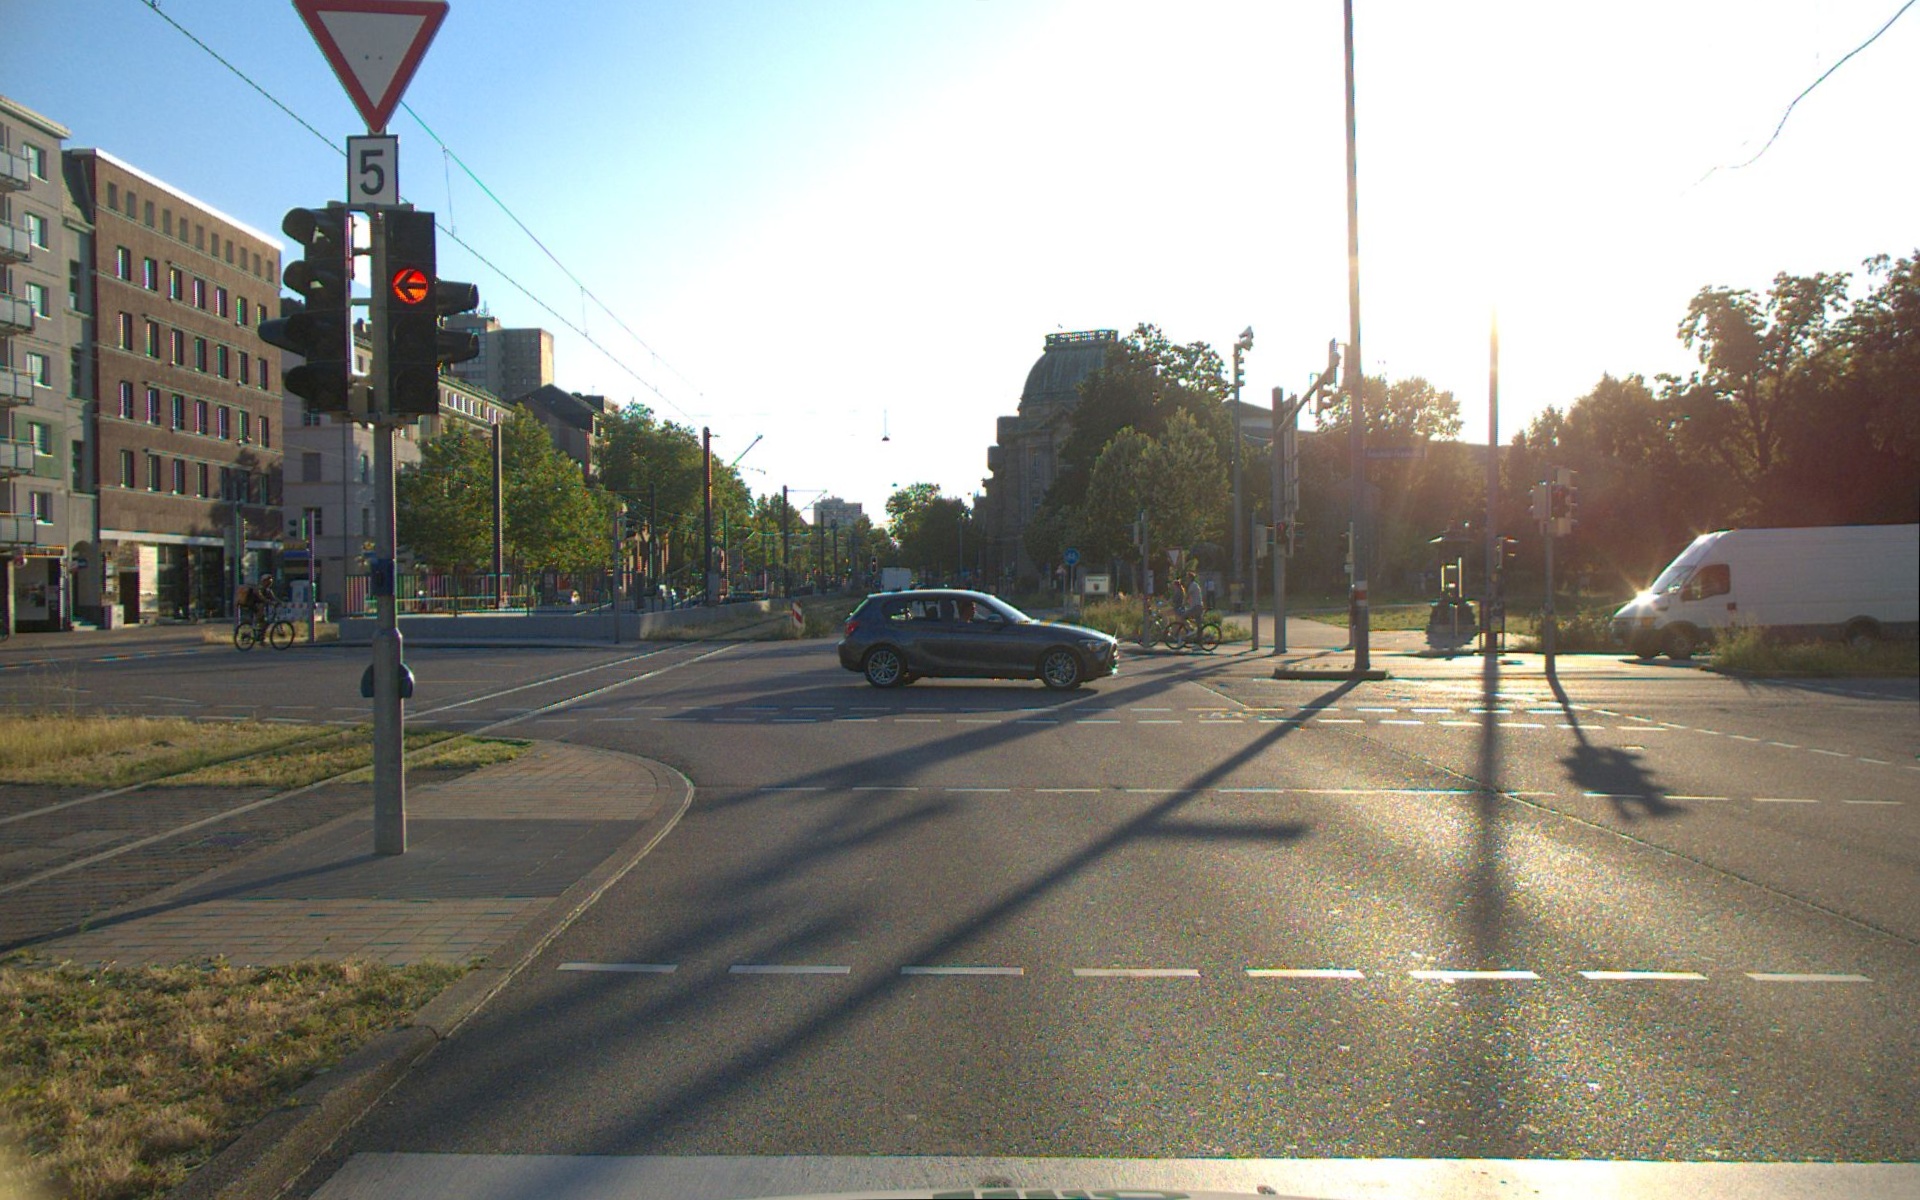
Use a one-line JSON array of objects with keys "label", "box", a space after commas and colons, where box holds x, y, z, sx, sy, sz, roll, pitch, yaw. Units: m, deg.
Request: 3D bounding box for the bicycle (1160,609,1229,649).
[{"label": "bicycle", "box": [5.893, 0.730, 41.663, 1.692, 0.987, 0.610, 0, 2, 5]}]

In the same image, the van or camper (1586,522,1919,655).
[{"label": "van or camper", "box": [17.761, -0.287, 36.548, 6.897, 2.721, 2.599, -1, 2, 1]}]

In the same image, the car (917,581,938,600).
[{"label": "car", "box": [-2.607, -0.758, 133.252, 1.702, 1.410, 4.000, -1, 2, -1]}]

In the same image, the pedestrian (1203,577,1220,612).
[{"label": "pedestrian", "box": [11.942, -0.245, 78.534, 0.668, 1.639, 0.612, -1, 2, -1]}]

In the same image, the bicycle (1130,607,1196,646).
[{"label": "bicycle", "box": [5.327, 0.687, 43.469, 1.683, 0.987, 0.609, 0, 2, 1]}]

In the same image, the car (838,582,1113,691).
[{"label": "car", "box": [0.275, 0.513, 24.987, 3.902, 1.459, 1.720, 1, 2, 10]}]

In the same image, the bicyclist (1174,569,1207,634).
[{"label": "bicyclist", "box": [5.801, 0.033, 41.655, 0.780, 1.598, 0.664, -1, 2, 6]}]

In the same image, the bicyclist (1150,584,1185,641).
[{"label": "bicyclist", "box": [5.455, 0.317, 43.465, 0.836, 1.467, 0.663, -1, 2, 0]}]

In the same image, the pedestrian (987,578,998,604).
[{"label": "pedestrian", "box": [1.919, -0.528, 98.241, 0.603, 1.501, 0.800, -1, 2, 3]}]

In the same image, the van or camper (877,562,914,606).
[{"label": "van or camper", "box": [-4.112, -1.056, 106.840, 2.217, 2.670, 4.503, -1, 2, -1]}]

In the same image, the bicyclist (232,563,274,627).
[{"label": "bicyclist", "box": [-16.440, -0.115, 38.458, 0.841, 1.467, 0.659, 1, 1, -20]}]

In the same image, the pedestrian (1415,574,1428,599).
[{"label": "pedestrian", "box": [32.547, -0.934, 116.644, 0.780, 1.731, 0.801, 0, 0, 14]}]

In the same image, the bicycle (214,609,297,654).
[{"label": "bicycle", "box": [-16.391, 0.733, 38.518, 1.703, 0.986, 0.700, 1, 2, -21]}]
